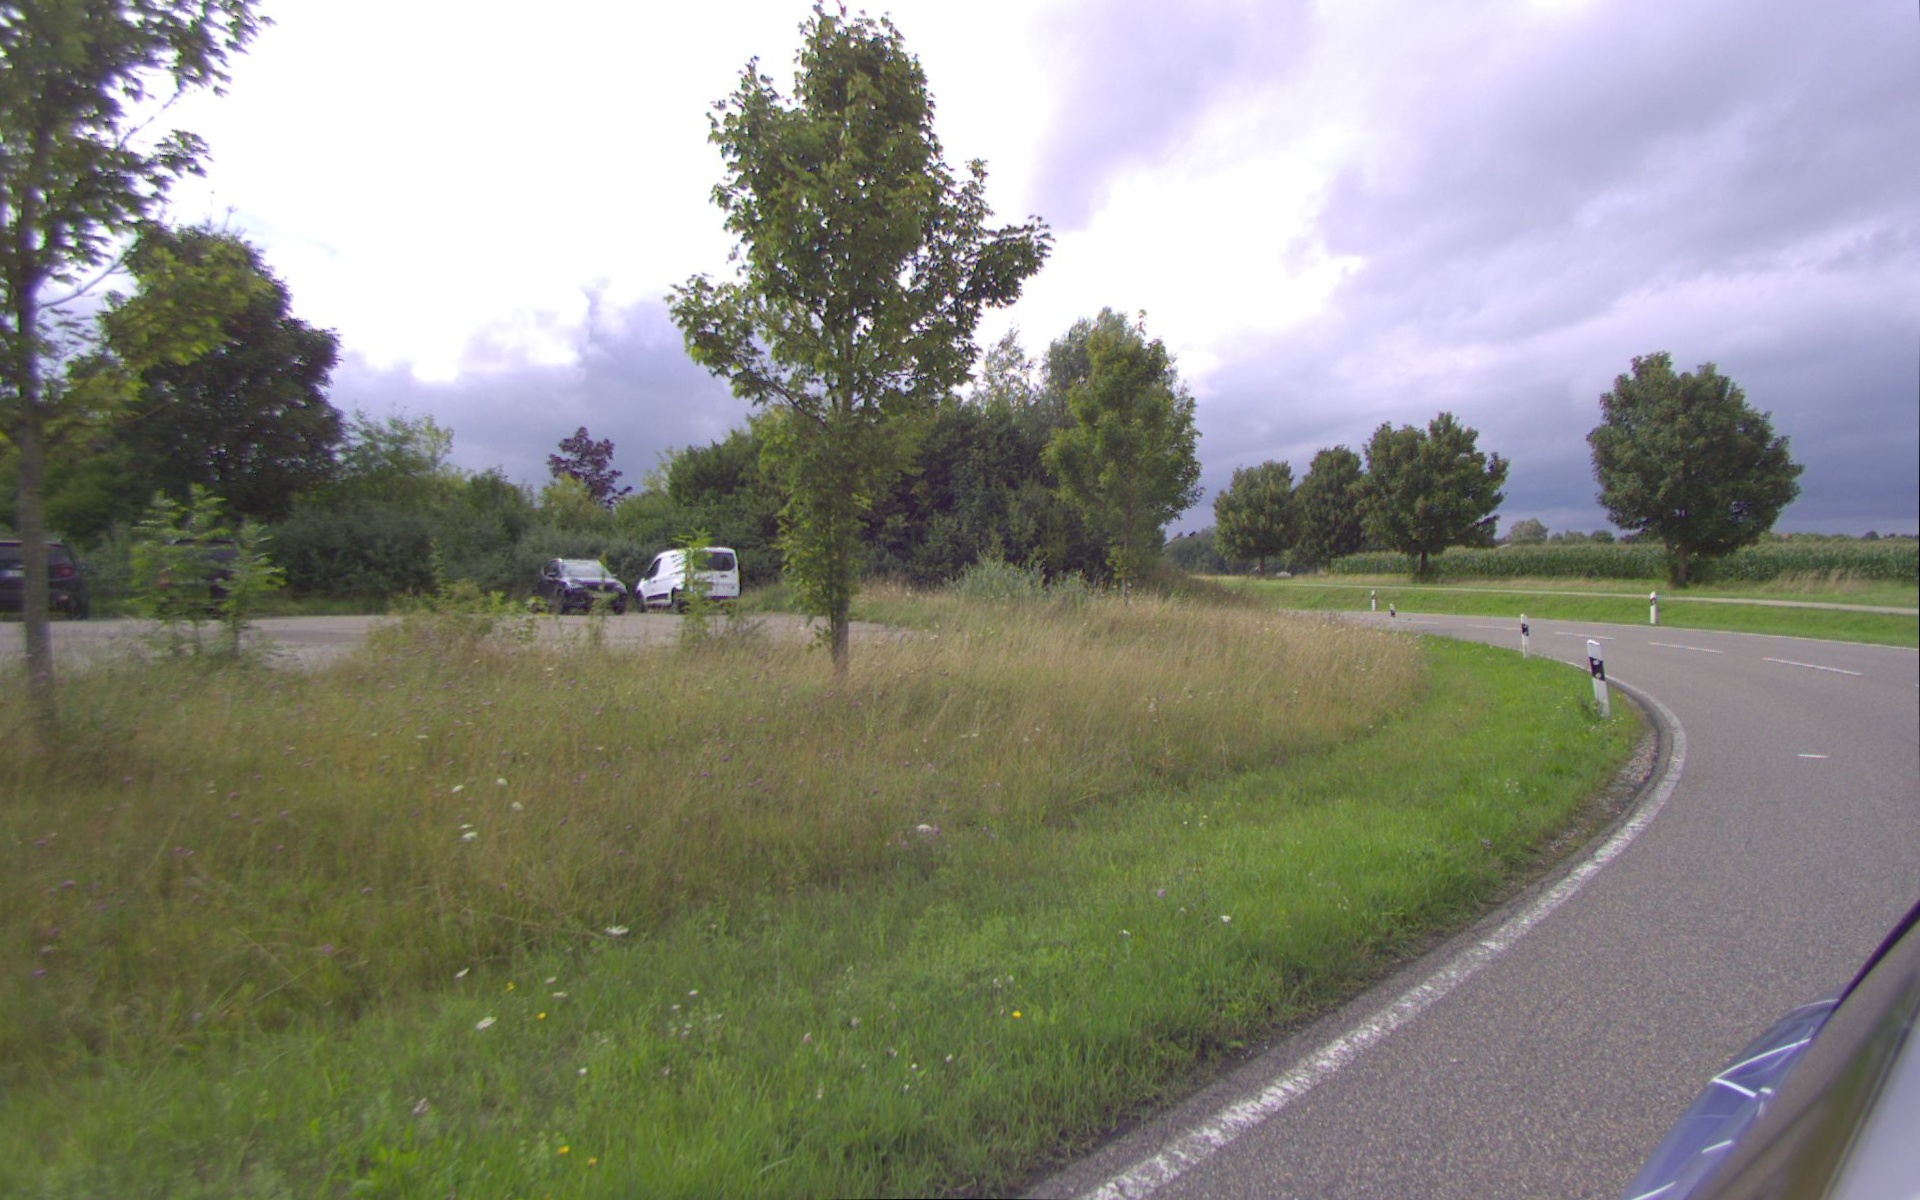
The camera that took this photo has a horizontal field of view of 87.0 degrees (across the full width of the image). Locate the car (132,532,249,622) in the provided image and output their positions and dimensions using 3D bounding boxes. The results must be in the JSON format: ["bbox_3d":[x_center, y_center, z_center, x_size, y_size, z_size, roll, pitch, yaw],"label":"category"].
[{"bbox_3d":[-17.643,-0.588,23.353,1.963,1.882,4.000,-1,3,-36],"label":"car"}]

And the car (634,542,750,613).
[{"bbox_3d":[-7.818,-0.700,29.269,1.963,1.882,4.000,-1,3,-36],"label":"car"}]

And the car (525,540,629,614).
[{"bbox_3d":[-10.652,-0.687,27.982,1.712,1.882,4.000,-1,3,-36],"label":"car"}]

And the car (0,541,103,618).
[{"bbox_3d":[-19.623,-0.483,21.588,1.965,1.515,3.996,-2,3,-39],"label":"car"}]
